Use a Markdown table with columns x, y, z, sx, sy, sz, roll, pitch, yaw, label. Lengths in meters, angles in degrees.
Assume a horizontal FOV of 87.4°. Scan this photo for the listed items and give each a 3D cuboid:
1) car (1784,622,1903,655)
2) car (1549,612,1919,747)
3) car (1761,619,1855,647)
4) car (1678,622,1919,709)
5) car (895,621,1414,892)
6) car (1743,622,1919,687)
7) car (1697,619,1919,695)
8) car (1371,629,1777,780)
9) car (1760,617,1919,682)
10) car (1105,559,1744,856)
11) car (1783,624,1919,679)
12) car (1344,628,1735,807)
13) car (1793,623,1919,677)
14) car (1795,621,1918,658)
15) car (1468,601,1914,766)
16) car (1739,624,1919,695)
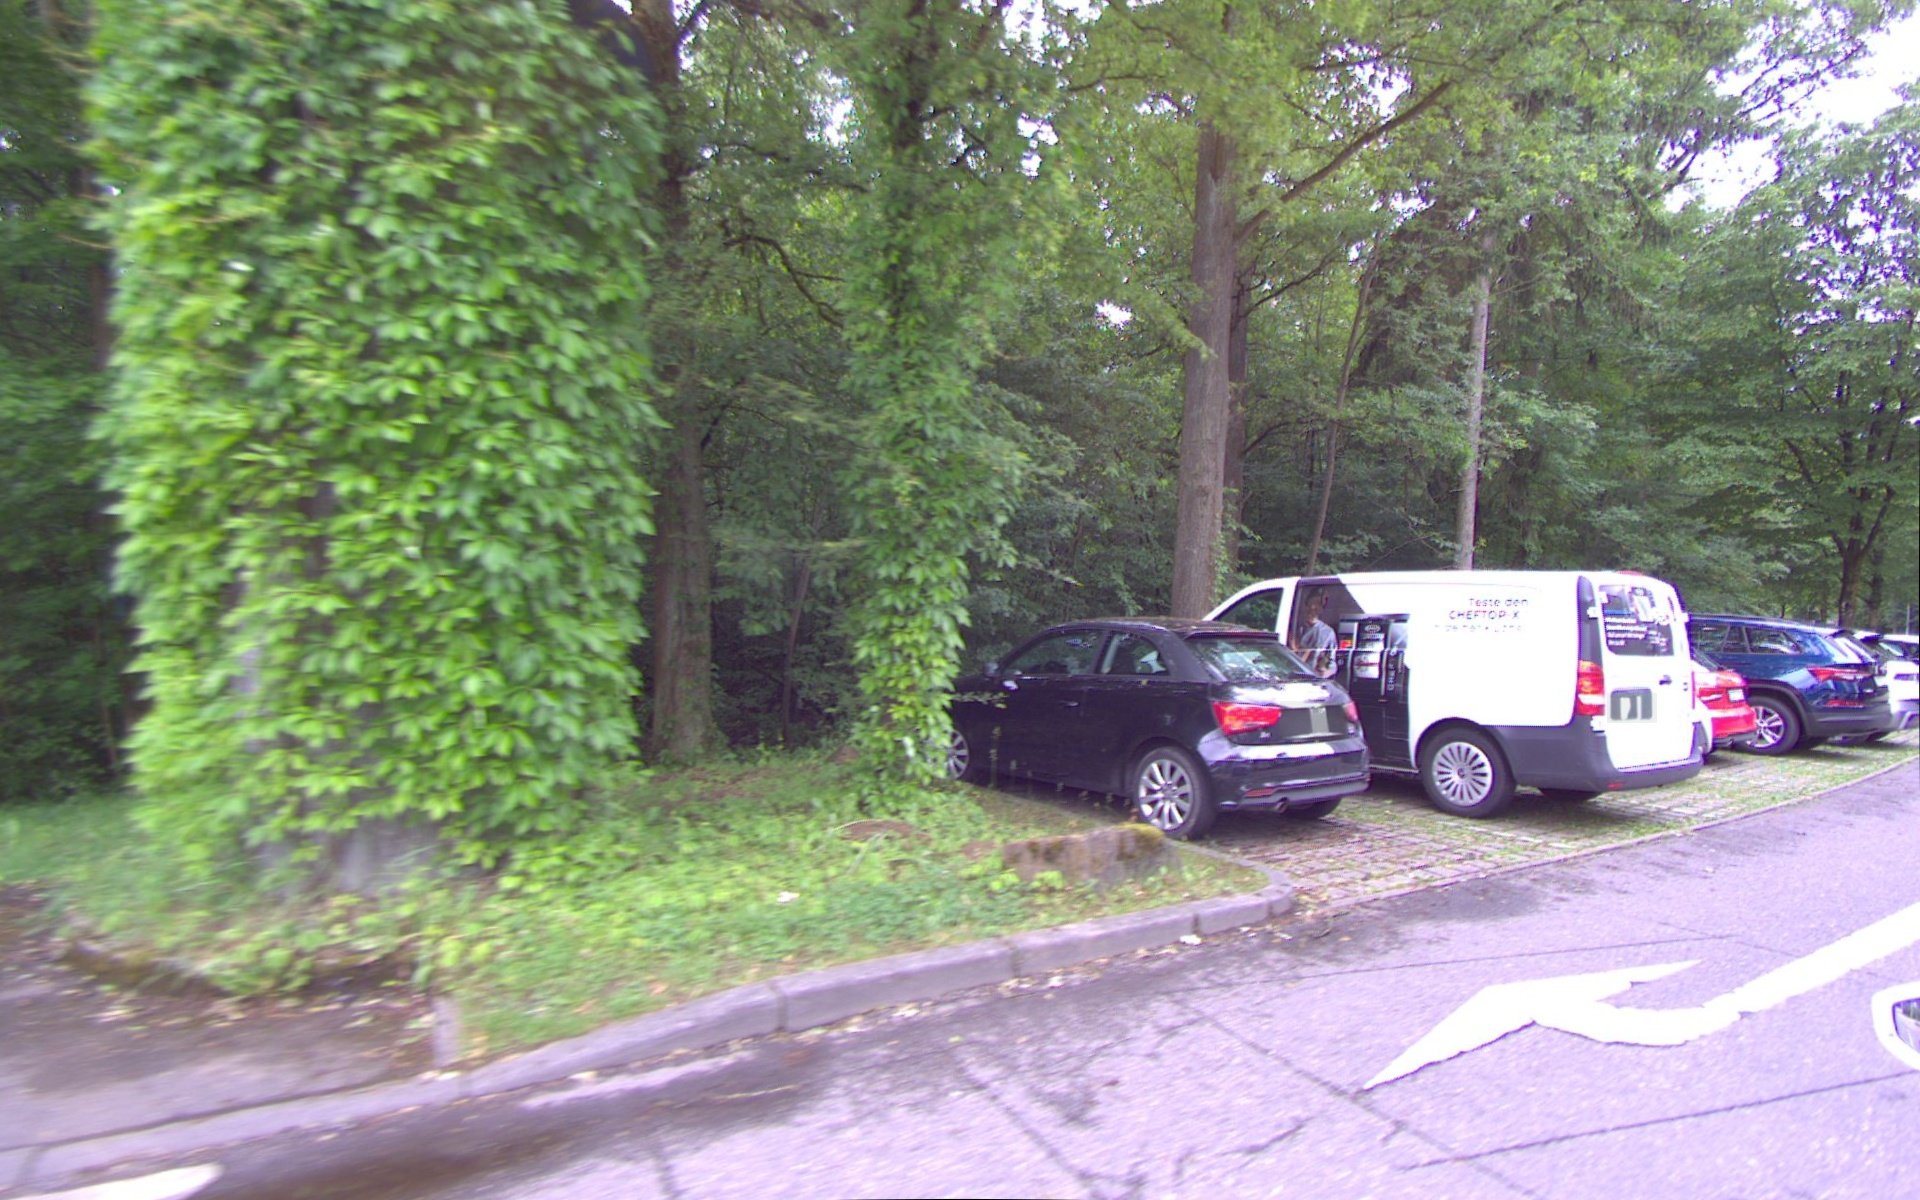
| x | y | z | sx | sy | sz | roll | pitch | yaw | label |
| --- | --- | --- | --- | --- | --- | --- | --- | --- | --- |
| 44.793 | 1.924 | 51.037 | 4.307 | 1.506 | 1.886 | 1 | -1 | 35 | car |
| 11.568 | 1.049 | 15.019 | 2.013 | 1.619 | 4.321 | 1 | 0 | -38 | car |
| 54.839 | 2.092 | 65.099 | 4.455 | 1.605 | 1.920 | 1 | 0 | 36 | car |
| 17.086 | 1.249 | 20.303 | 1.695 | 1.511 | 3.949 | 0 | 0 | -43 | car |
| 1.228 | 0.948 | 7.904 | 1.705 | 1.397 | 3.961 | 0 | 1 | -34 | car |
| 23.844 | 1.430 | 27.060 | 4.188 | 1.554 | 1.752 | 1 | 0 | 44 | car |
| 19.981 | 1.281 | 23.458 | 1.708 | 1.493 | 4.193 | 2 | 0 | -42 | car |
| 7.445 | 1.144 | 12.513 | 1.807 | 1.464 | 3.956 | 1 | -1 | -38 | car |
| 25.666 | 1.376 | 28.751 | 4.186 | 1.669 | 1.959 | 1 | 0 | 43 | car |
| 3.774 | 0.696 | 9.223 | 1.958 | 1.941 | 5.054 | 1 | 0 | -34 | car |
| 27.644 | 1.519 | 30.001 | 4.591 | 1.497 | 2.082 | 1 | 0 | 44 | car |
| 5.951 | 1.077 | 10.616 | 1.637 | 1.486 | 3.208 | -1 | 0 | -32 | car |
| 30.976 | 1.669 | 34.042 | 1.981 | 1.650 | 3.928 | 1 | 0 | -39 | car |
| 41.774 | 1.819 | 46.942 | 4.216 | 1.506 | 2.047 | 1 | 0 | 41 | car |
| 9.581 | 0.933 | 13.511 | 2.150 | 1.717 | 4.394 | 0 | 1 | -36 | car |
| 22.180 | 1.439 | 24.934 | 1.991 | 1.550 | 4.194 | 1 | 0 | -42 | car |
